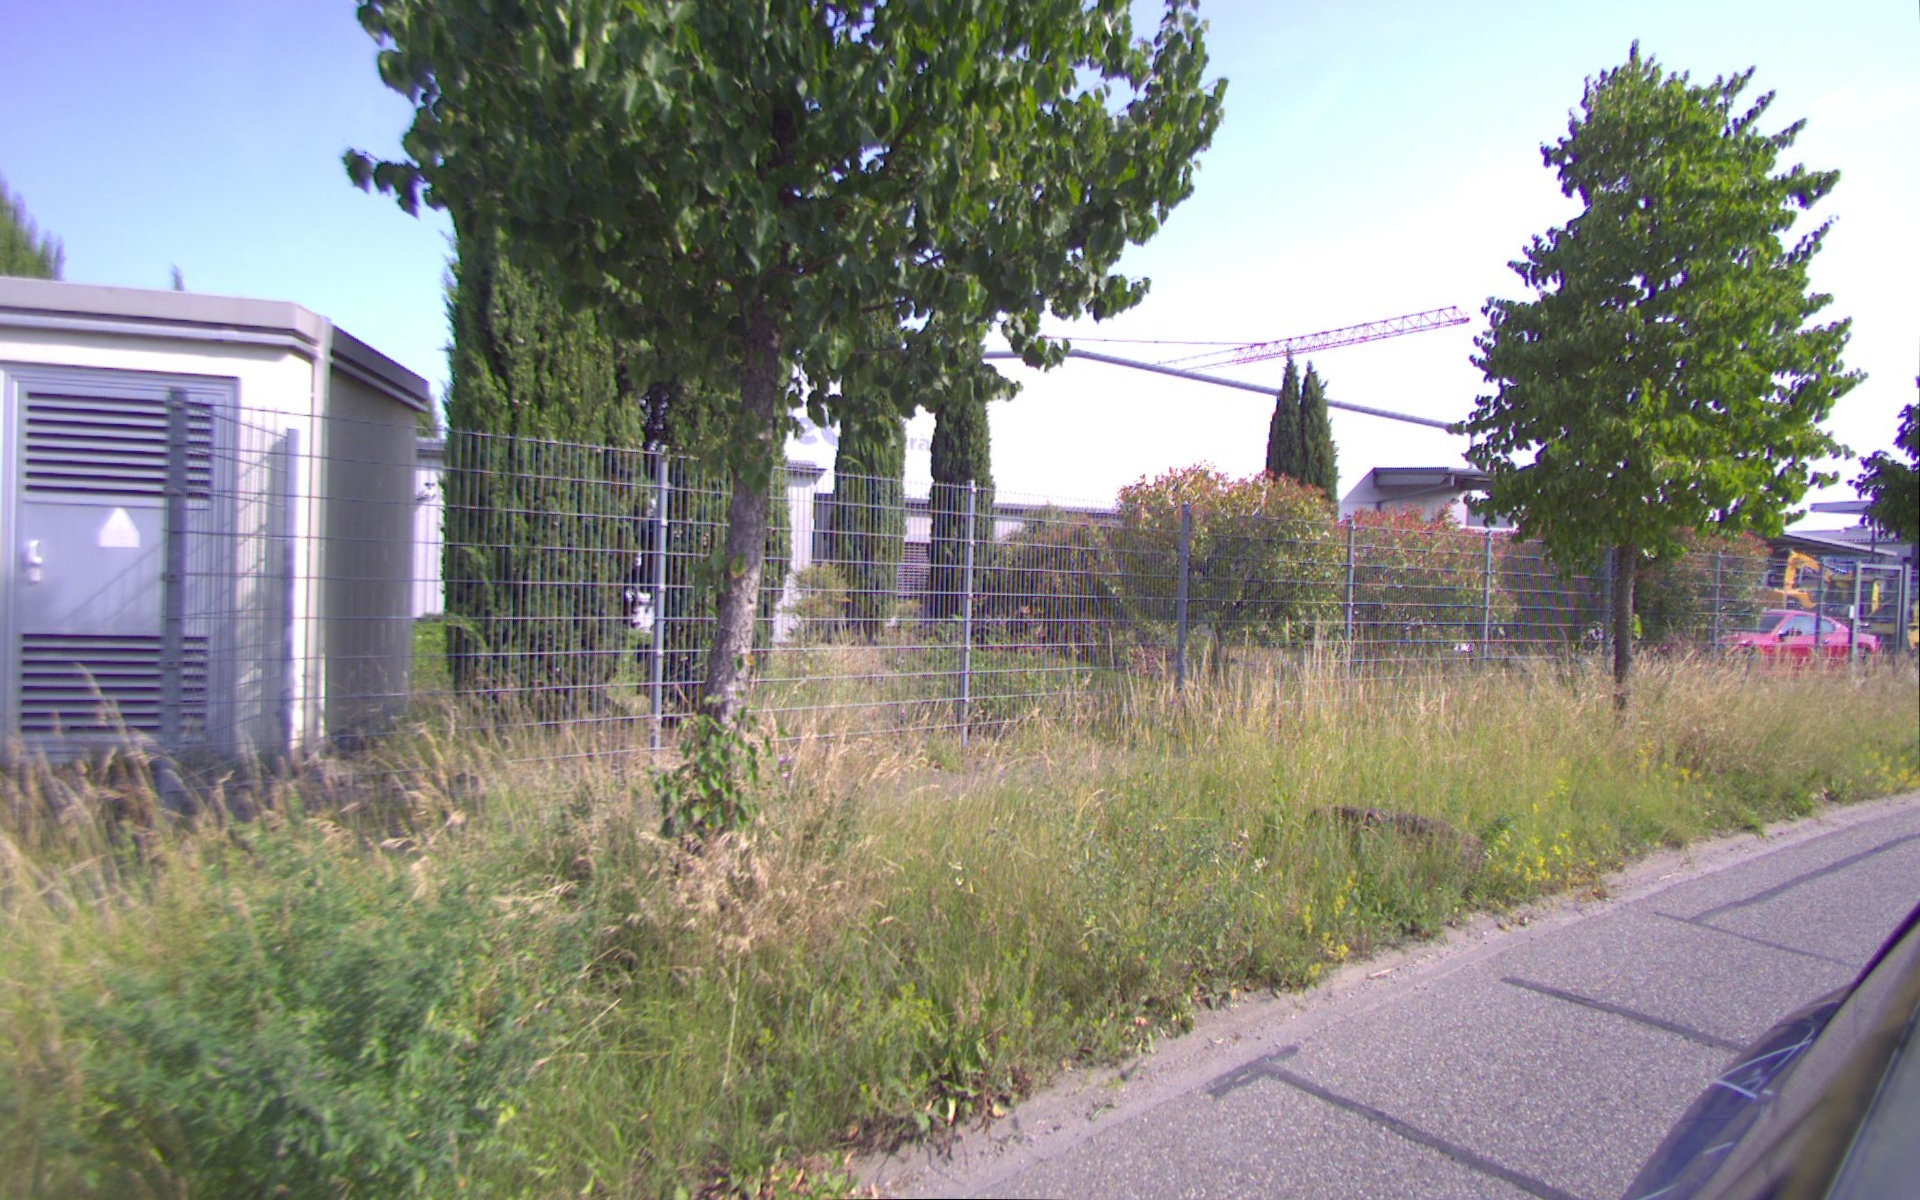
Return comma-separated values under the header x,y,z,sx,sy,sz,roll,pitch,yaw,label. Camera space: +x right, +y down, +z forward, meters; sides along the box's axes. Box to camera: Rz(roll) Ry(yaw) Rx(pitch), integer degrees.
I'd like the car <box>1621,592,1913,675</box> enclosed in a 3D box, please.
x,y,z,sx,sy,sz,roll,pitch,yaw,label
15.283,0.631,19.220,4.673,1.375,1.891,2,1,-15,car

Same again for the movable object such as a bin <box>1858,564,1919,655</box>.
x,y,z,sx,sy,sz,roll,pitch,yaw,label
34.203,0.356,35.242,4.398,3.069,2.003,2,1,-11,movable object such as a bin

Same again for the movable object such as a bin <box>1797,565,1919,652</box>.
x,y,z,sx,sy,sz,roll,pitch,yaw,label
33.907,0.319,37.568,4.282,3.069,2.003,2,1,-11,movable object such as a bin

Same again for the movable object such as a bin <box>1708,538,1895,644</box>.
x,y,z,sx,sy,sz,roll,pitch,yaw,label
33.589,-0.357,40.493,5.599,3.922,2.698,2,1,-11,movable object such as a bin

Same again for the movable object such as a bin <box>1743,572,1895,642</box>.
x,y,z,sx,sy,sz,roll,pitch,yaw,label
37.797,0.305,44.560,5.571,2.803,2.065,2,1,-13,movable object such as a bin
